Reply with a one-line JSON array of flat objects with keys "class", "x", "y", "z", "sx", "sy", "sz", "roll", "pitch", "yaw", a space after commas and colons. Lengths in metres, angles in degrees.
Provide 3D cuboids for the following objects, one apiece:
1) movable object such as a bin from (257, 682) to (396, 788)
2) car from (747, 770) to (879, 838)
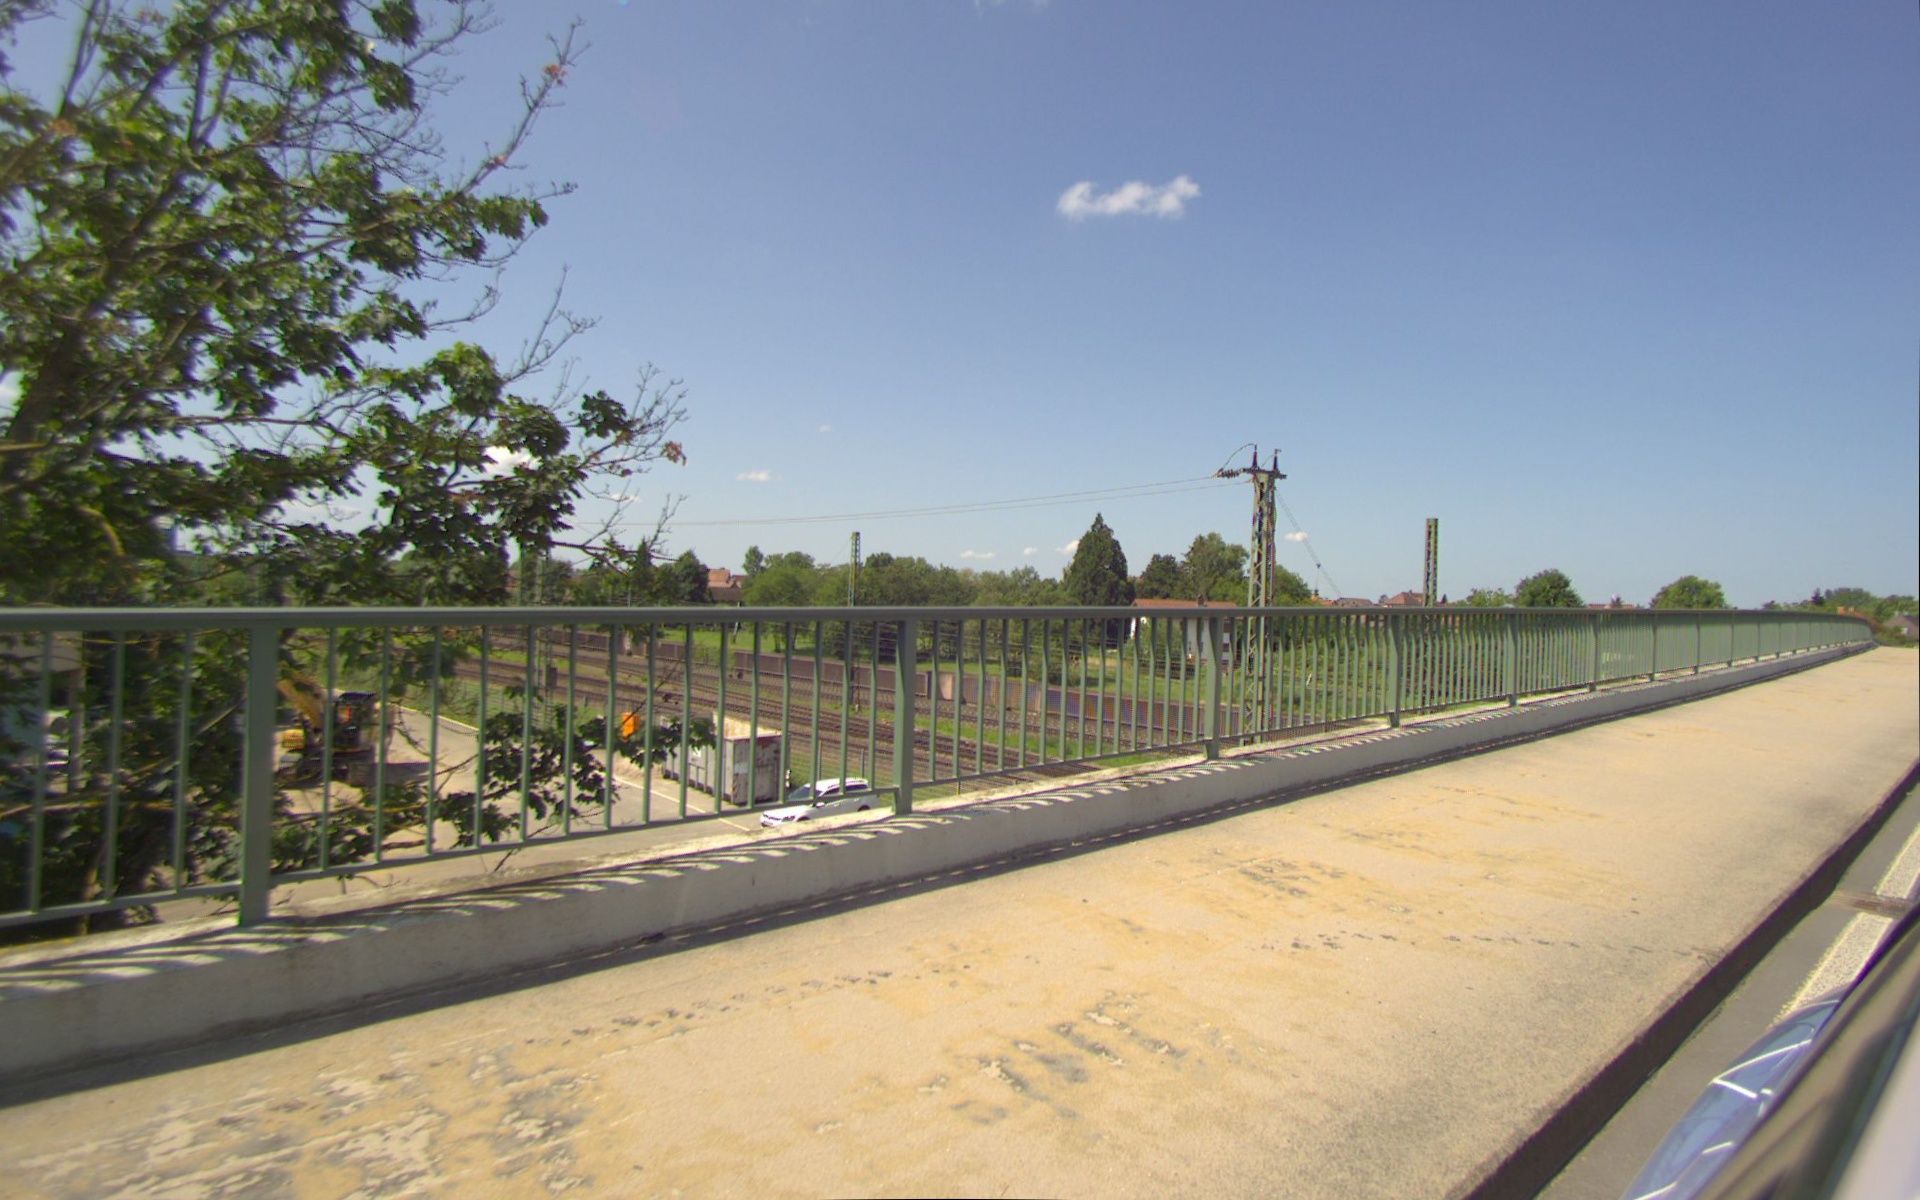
[{"class": "movable object such as a bin", "x": -25.350, "y": 5.310, "z": 40.888, "sx": 3.179, "sy": 3.332, "sz": 6.237, "roll": 3, "pitch": 0, "yaw": -18}, {"class": "car", "x": -5.039, "y": 6.975, "z": 34.968, "sx": 4.173, "sy": 1.616, "sz": 1.994, "roll": 2, "pitch": -4, "yaw": -44}]
